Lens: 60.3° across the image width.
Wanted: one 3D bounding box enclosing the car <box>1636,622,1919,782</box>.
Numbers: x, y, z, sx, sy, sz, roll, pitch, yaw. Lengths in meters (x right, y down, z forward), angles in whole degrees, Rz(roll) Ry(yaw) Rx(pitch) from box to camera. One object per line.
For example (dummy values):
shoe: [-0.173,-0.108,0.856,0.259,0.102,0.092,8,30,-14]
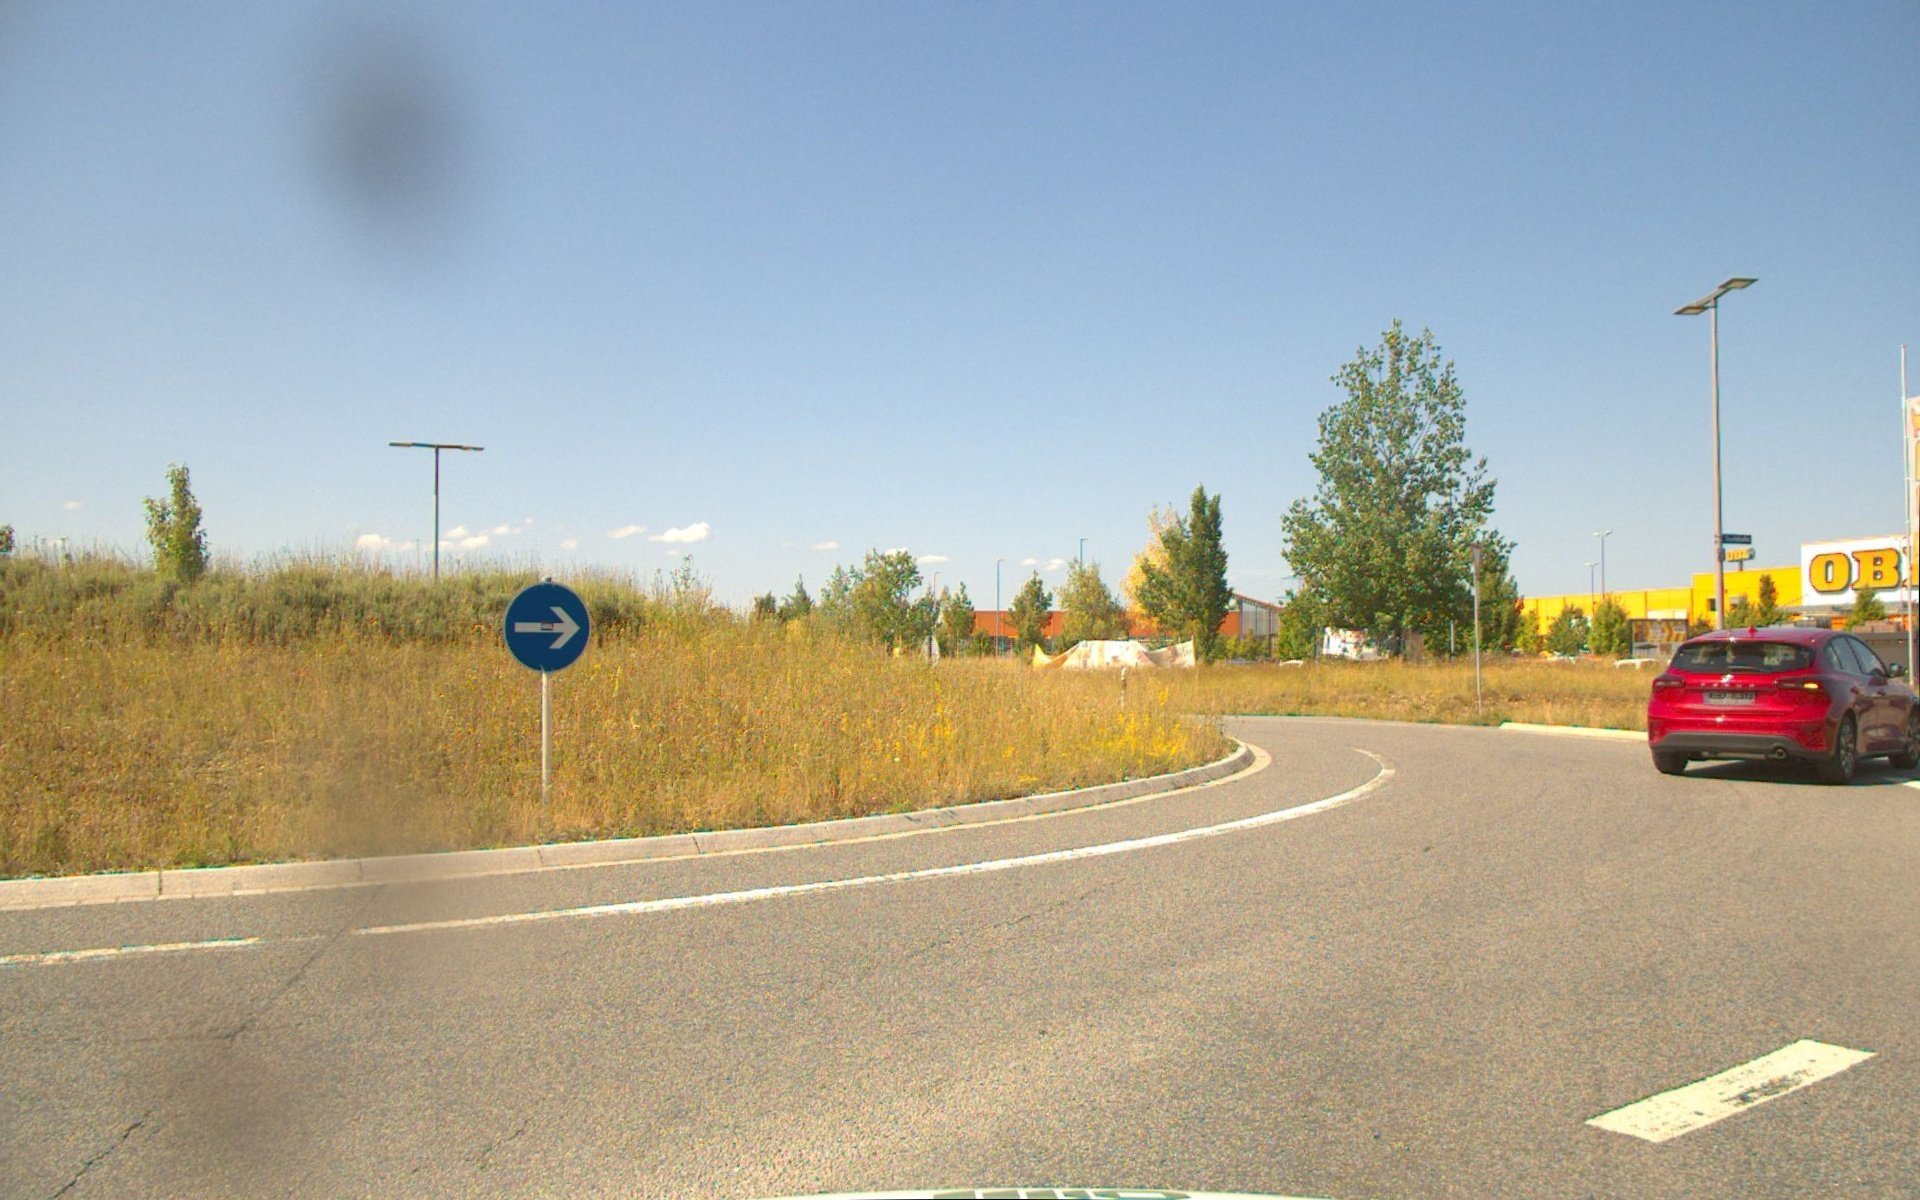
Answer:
car: [8.593,0.955,17.082,1.776,1.441,4.093,-1,-1,41]
